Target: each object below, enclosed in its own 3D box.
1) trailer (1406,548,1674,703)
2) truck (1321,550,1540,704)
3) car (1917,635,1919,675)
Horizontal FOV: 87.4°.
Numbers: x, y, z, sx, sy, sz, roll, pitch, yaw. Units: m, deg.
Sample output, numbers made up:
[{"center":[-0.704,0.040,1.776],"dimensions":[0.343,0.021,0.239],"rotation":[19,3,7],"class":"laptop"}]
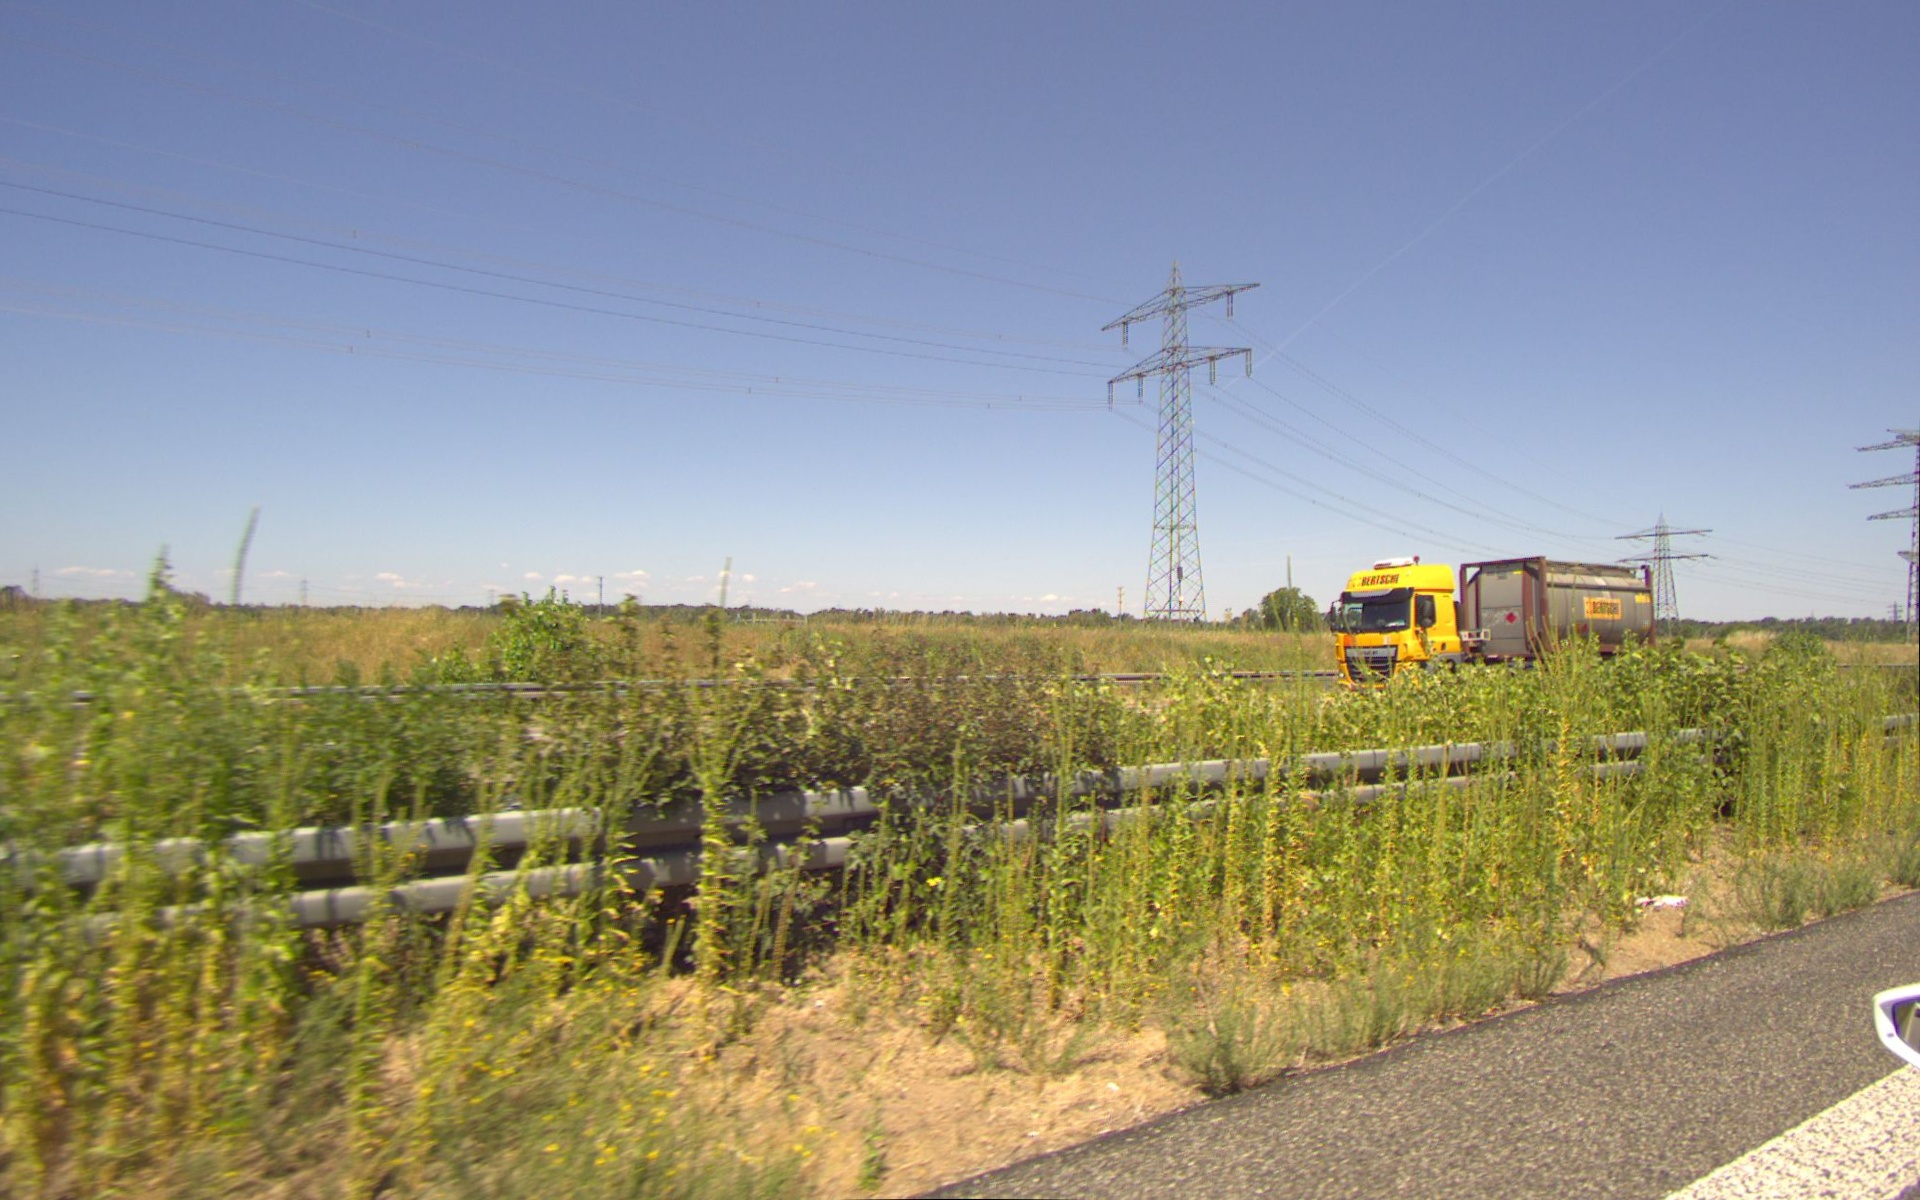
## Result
[{"center":[17.489,0.819,30.035],"dimensions":[9.314,4.099,2.724],"rotation":[2,-2,-31],"class":"trailer"},{"center":[12.791,0.775,27.260],"dimensions":[5.581,3.776,2.712],"rotation":[2,-2,-31],"class":"truck"},{"center":[47.859,2.641,47.855],"dimensions":[4.813,1.878,2.037],"rotation":[2,-2,-31],"class":"car"}]
